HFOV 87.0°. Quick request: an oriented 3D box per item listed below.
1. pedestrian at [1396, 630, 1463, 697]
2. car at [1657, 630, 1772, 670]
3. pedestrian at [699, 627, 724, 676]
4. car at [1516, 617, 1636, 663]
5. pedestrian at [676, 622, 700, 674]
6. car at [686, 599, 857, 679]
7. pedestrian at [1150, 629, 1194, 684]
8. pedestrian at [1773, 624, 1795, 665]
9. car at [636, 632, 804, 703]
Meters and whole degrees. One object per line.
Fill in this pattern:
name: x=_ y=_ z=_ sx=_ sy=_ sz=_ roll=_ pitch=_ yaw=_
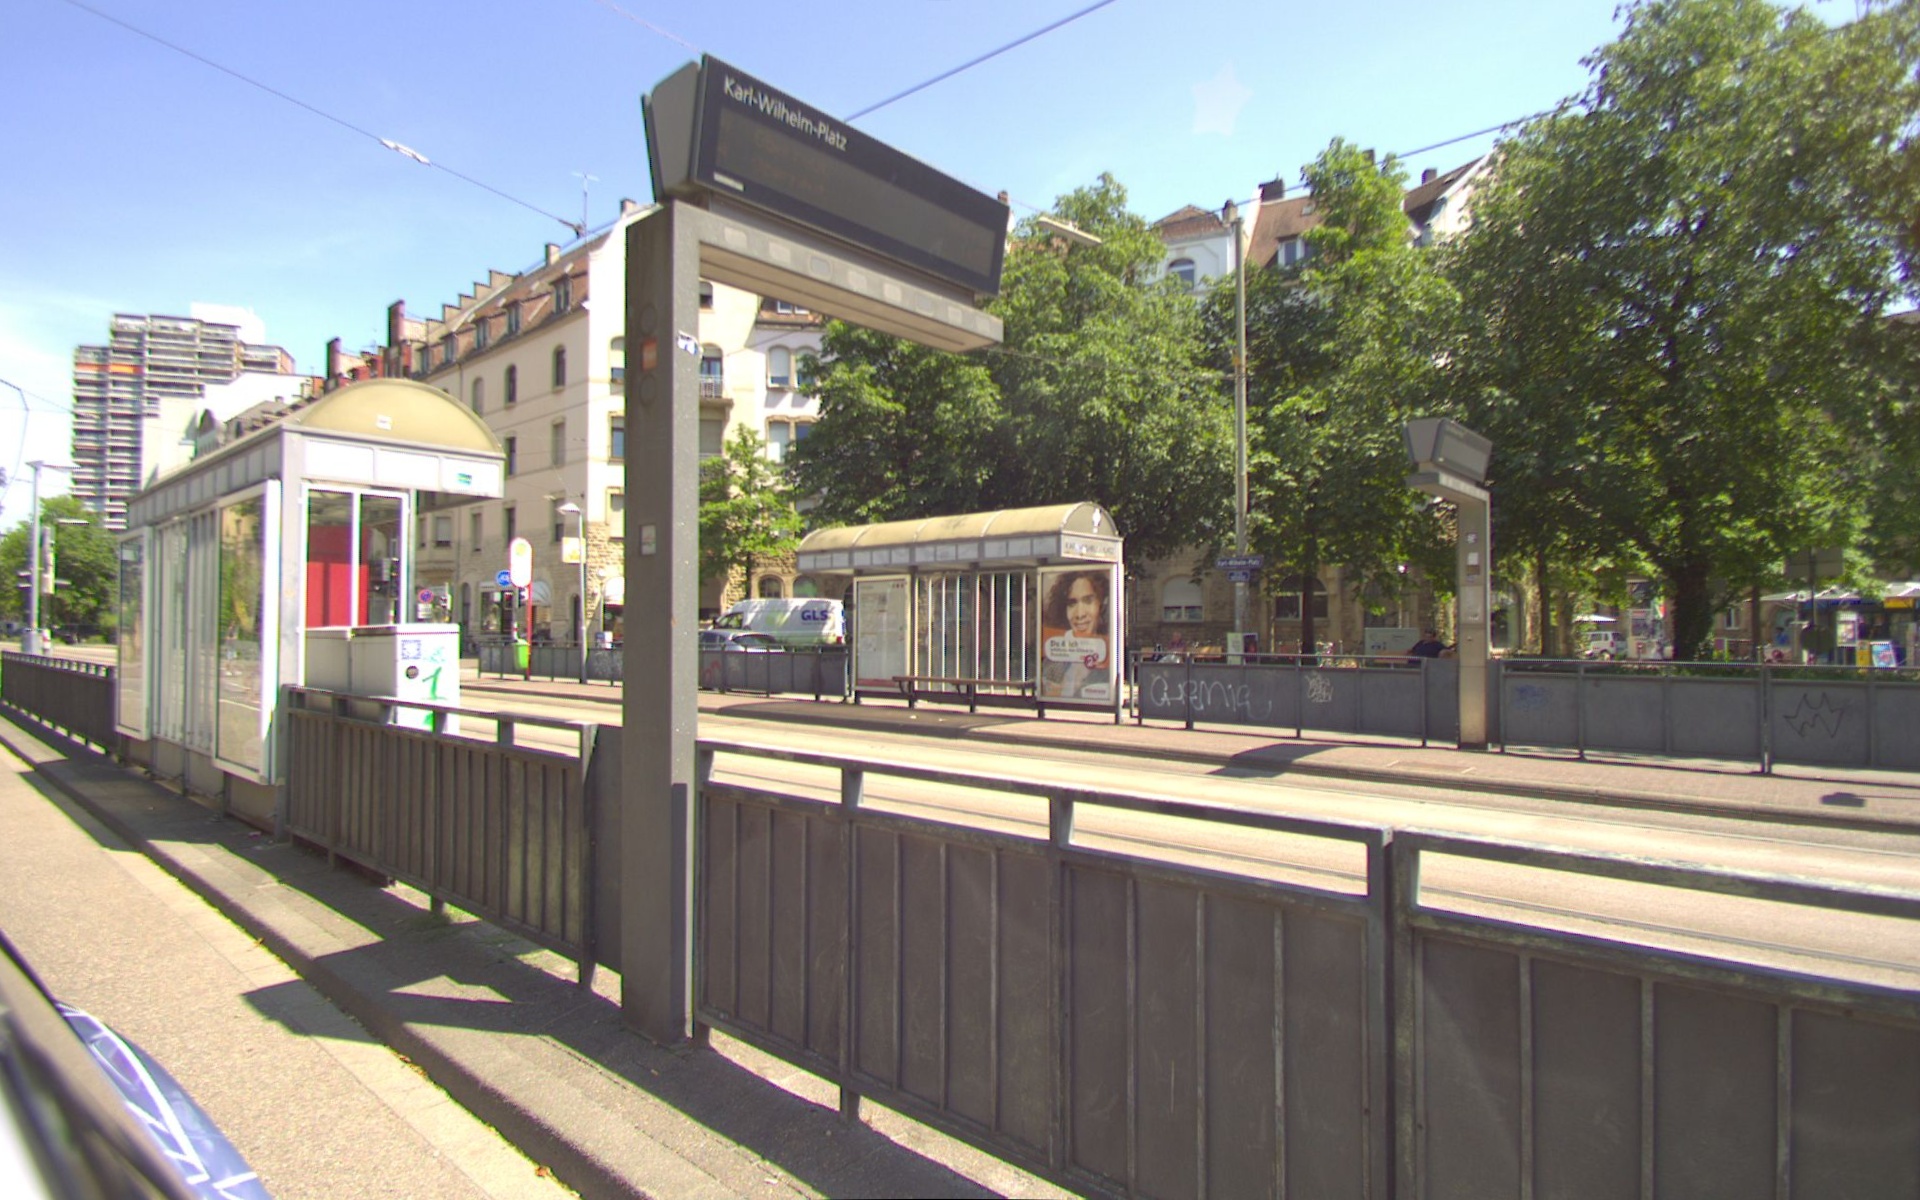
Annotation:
pedestrian: x=9.286 y=1.232 z=20.037 sx=0.852 sy=1.253 sz=0.939 roll=-1 pitch=0 yaw=-43
car: x=35.792 y=2.335 z=48.099 sx=1.736 sy=1.721 sz=3.998 roll=-1 pitch=0 yaw=-33
pedestrian: x=-7.979 y=1.651 z=32.492 sx=0.473 sy=1.563 sz=0.586 roll=-2 pitch=-3 yaw=39
car: x=26.722 y=1.691 z=44.007 sx=1.966 sy=1.803 sz=4.011 roll=-1 pitch=0 yaw=-33
pedestrian: x=-8.866 y=1.563 z=33.028 sx=0.473 sy=1.659 sz=0.586 roll=-2 pitch=-3 yaw=41
car: x=-6.670 y=1.362 z=36.374 sx=5.743 sy=2.693 sz=2.275 roll=-1 pitch=0 yaw=-1
pedestrian: x=5.097 y=1.349 z=24.312 sx=0.930 sy=1.253 sz=0.860 roll=-1 pitch=0 yaw=17
pedestrian: x=33.933 y=1.833 z=41.669 sx=0.483 sy=1.683 sz=0.517 roll=1 pitch=-2 yaw=-27
car: x=-5.594 y=1.483 z=23.358 sx=3.998 sy=1.404 sz=1.789 roll=-1 pitch=0 yaw=41
